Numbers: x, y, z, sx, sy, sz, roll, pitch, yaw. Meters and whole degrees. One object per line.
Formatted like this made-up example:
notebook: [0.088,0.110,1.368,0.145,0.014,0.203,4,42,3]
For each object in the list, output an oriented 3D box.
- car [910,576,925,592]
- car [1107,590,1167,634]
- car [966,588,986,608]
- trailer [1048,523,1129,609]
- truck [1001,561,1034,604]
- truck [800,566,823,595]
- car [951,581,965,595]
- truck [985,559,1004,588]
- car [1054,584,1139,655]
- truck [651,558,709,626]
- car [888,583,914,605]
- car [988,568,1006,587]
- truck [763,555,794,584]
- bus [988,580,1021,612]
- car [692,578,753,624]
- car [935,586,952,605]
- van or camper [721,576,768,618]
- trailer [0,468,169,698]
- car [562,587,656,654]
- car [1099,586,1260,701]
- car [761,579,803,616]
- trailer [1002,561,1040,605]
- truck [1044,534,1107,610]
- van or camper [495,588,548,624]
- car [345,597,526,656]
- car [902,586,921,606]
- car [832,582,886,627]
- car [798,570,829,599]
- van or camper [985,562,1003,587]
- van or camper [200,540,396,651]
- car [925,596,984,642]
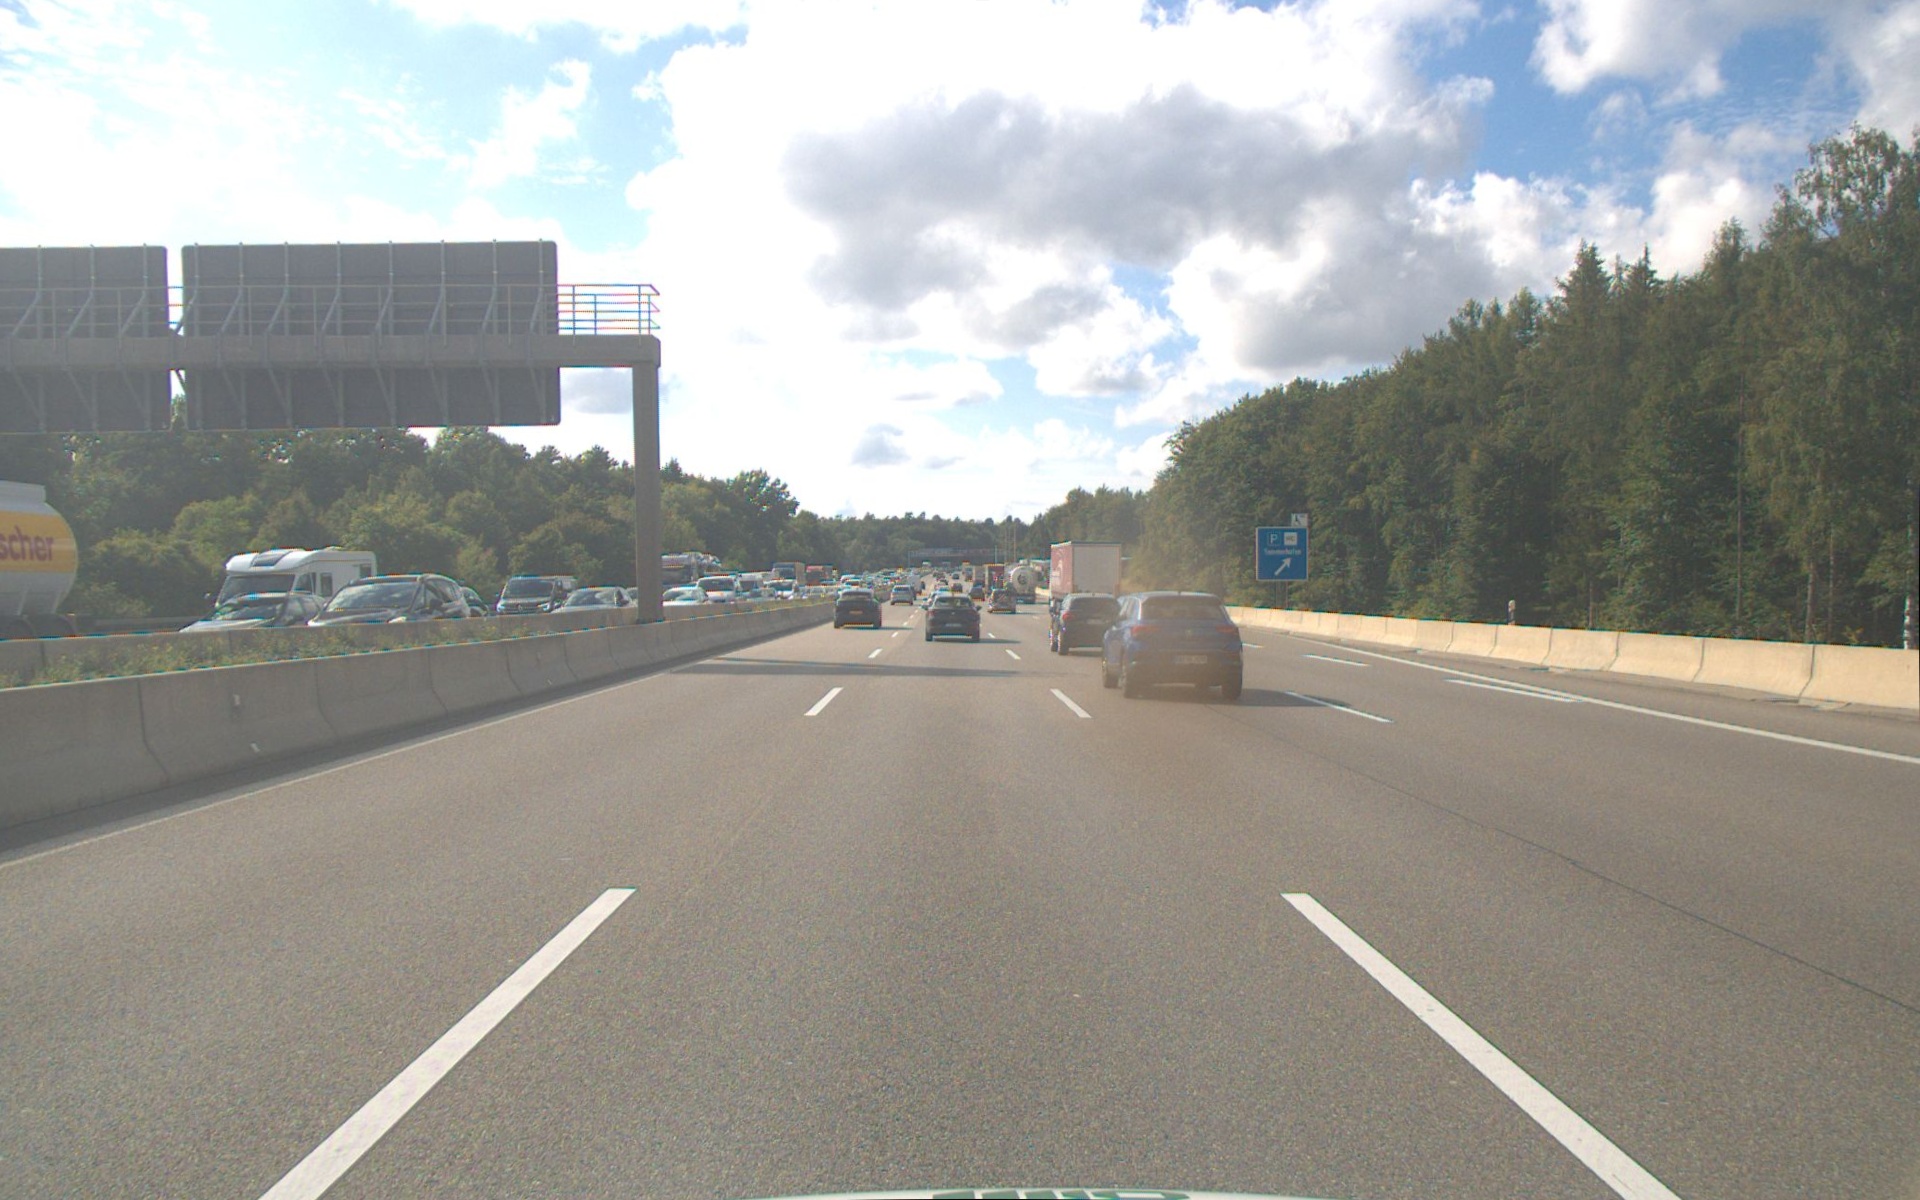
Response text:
car: [-5.570,-2.101,217.549,1.953,2.049,3.999,1,1,-1]
car: [6.355,0.412,59.608,1.680,1.537,4.302,-1,0,0]
car: [1.681,-0.184,174.073,1.953,2.049,3.999,1,0,-1]
trailer: [6.676,-1.653,87.968,2.976,4.106,13.886,1,-1,-1]
truck: [5.732,-1.753,166.077,2.983,4.233,7.125,0,0,-1]
truck: [-20.424,-2.698,228.234,2.720,4.007,6.851,1,1,-2]
car: [-0.277,-1.760,245.849,1.953,2.049,3.999,1,1,-1]
truck: [4.582,-3.468,219.365,2.309,3.635,11.266,1,-1,0]
car: [3.394,0.461,41.818,1.762,1.673,4.000,1,0,-1]
truck: [-18.258,-0.545,108.186,2.795,4.308,5.712,1,0,-1]
car: [-5.014,-0.493,141.249,2.111,1.807,4.000,1,0,-1]
car: [4.317,-2.607,193.924,1.953,2.049,3.999,1,-1,-1]
truck: [-18.238,-3.048,166.479,2.281,2.850,7.948,2,1,-1]
bus: [2.879,-0.232,107.782,1.953,2.049,3.999,1,-1,-1]
car: [-10.002,0.032,69.938,2.044,1.833,4.178,0,0,-1]
car: [-1.903,-0.474,188.177,1.953,2.049,3.999,-1,-1,-1]
van or camper: [-14.693,-0.188,113.348,2.342,2.758,6.630,1,-1,0]
trailer: [-17.851,-0.302,27.321,3.342,3.895,13.258,1,0,-1]
car: [-10.182,0.554,48.334,1.731,1.830,4.937,1,0,-1]
car: [3.311,0.616,25.785,1.884,1.568,4.645,2,0,0]
car: [-10.538,-0.109,98.136,1.953,2.137,5.277,1,-1,0]
trailer: [5.824,-1.599,160.416,2.974,4.086,12.242,0,0,-1]
truck: [6.569,-1.554,94.786,3.018,4.134,6.068,1,-1,-1]
van or camper: [-26.194,0.375,99.023,1.822,2.069,5.074,1,-1,0]
car: [-9.489,0.445,30.380,1.633,0.944,5.462,1,0,-1]
car: [-5.143,-0.385,177.444,1.953,2.049,3.999,1,-1,-1]
car: [-4.101,0.172,67.783,1.953,1.807,4.000,0,0,-1]
car: [-10.836,-1.108,122.680,1.953,2.049,4.409,0,-1,0]
van or camper: [4.643,-3.495,226.593,2.303,3.199,5.710,1,-1,0]
van or camper: [-17.530,-0.077,44.371,2.277,2.689,7.396,1,-1,0]
car: [-0.204,0.579,52.691,1.699,1.389,3.998,1,0,-3]
